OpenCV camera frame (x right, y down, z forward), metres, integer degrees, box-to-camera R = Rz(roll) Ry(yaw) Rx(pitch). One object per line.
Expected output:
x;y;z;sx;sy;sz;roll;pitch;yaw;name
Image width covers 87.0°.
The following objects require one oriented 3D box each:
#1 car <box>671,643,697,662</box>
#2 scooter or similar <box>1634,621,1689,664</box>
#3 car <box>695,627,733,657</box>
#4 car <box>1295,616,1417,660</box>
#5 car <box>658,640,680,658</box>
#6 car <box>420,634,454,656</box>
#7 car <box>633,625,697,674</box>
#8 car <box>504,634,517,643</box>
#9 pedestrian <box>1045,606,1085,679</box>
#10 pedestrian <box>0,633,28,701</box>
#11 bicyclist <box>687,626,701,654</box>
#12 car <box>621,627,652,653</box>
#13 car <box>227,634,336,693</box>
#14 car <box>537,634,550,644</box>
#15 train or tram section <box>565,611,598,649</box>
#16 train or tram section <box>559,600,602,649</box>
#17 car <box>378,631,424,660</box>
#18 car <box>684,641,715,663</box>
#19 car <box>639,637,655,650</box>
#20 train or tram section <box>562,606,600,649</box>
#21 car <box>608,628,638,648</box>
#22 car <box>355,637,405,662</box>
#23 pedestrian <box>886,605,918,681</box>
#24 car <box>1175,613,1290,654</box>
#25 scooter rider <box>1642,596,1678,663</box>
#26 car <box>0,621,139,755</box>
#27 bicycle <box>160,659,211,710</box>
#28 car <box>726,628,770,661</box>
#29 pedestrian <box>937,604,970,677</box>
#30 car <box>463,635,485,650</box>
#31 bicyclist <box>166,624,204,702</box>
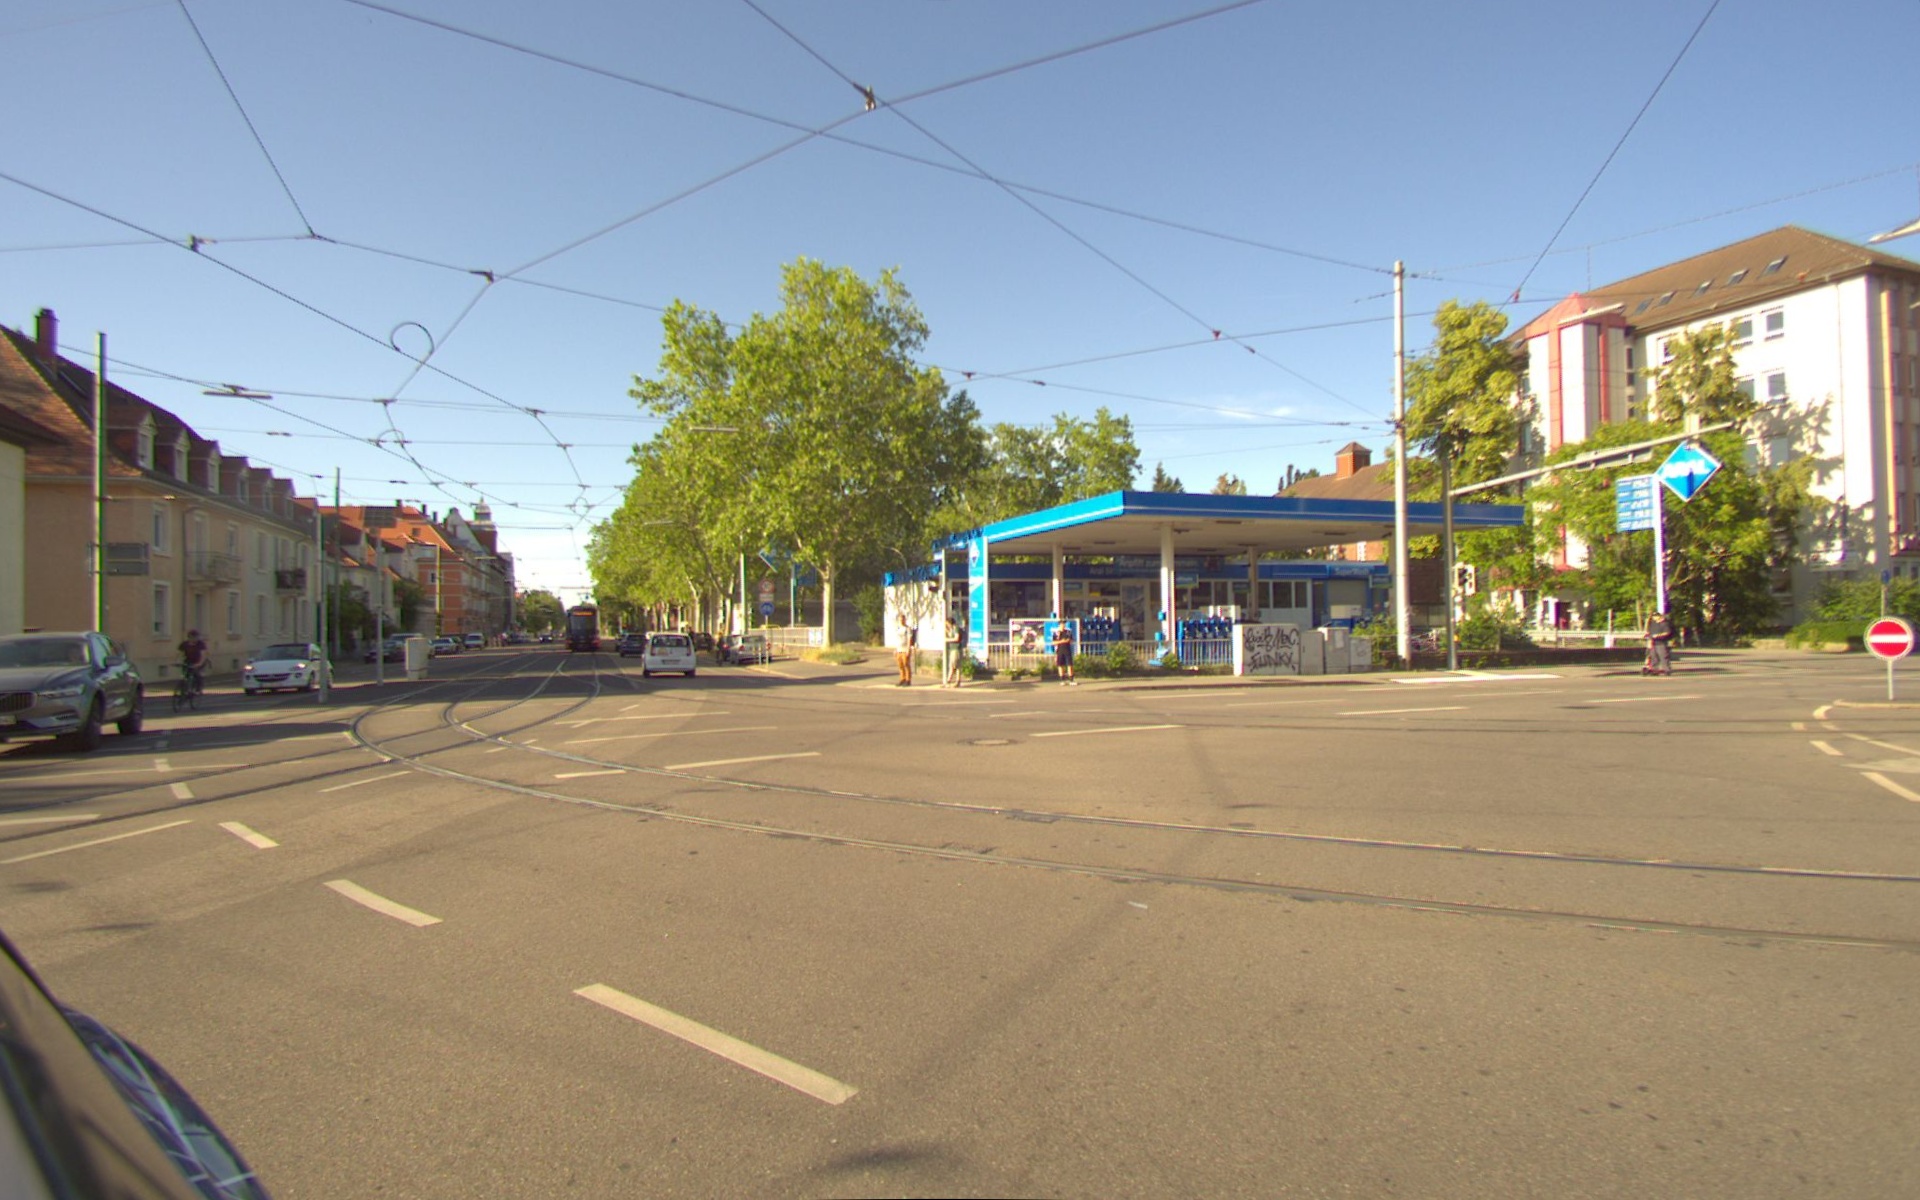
-22.733;4.325;83.324;1.851;1.497;4.012;-1;-2;-19;car
20.225;1.214;29.175;1.451;1.191;0.466;-1;-2;-19;scooter or similar
-13.508;2.310;55.422;1.751;1.435;3.320;-4;-1;-16;car
14.886;1.428;38.060;4.146;1.497;1.723;-1;-2;-21;car
-28.228;4.720;98.030;1.851;1.588;4.012;-1;-2;-19;car
-44.830;3.849;86.854;1.901;1.773;5.329;-1;-2;-20;car
-9.858;1.631;33.661;1.693;1.508;3.595;-1;-2;-22;car
-74.973;6.432;168.826;1.851;1.497;4.013;-1;-2;-22;car
2.630;1.067;25.485;0.736;1.742;0.734;-4;-2;-5;pedestrian
-25.389;1.784;27.065;0.592;1.774;0.488;0;-3;-33;pedestrian
-15.727;2.359;59.853;0.686;1.584;0.894;-1;-2;-21;bicyclist
-20.425;2.531;63.858;1.749;1.508;4.587;-1;-2;-19;car
-20.739;1.905;31.139;1.886;1.643;4.517;-1;-2;-22;car
-67.214;6.249;163.455;1.851;1.497;4.013;-1;-2;-22;car
-39.238;3.198;104.891;3.012;3.640;12.152;-1;-2;-21;train or tram section
-30.649;2.072;81.831;3.012;3.640;12.152;-1;-2;-20;train or tram section
-38.519;3.149;69.817;1.901;1.859;5.329;-1;-2;-20;car
-19.240;3.835;74.626;1.851;1.497;4.012;-1;-2;-19;car
-40.519;5.634;130.789;1.851;1.563;4.012;-1;-2;-19;car
-34.922;2.604;93.355;3.012;3.640;12.541;-1;-2;-21;train or tram section
-27.005;3.043;80.984;1.965;1.508;4.361;1;-2;-22;car
-36.431;3.103;63.690;1.851;1.497;4.011;-1;-2;-16;car
-1.521;1.116;26.502;0.620;1.940;0.586;-1;-2;-20;pedestrian
10.903;1.320;40.520;4.146;1.497;1.723;-1;-2;-21;car
20.202;0.851;29.191;0.680;1.915;0.466;-1;-2;-19;scooter rider
-13.232;1.192;14.356;1.886;1.643;4.515;0;-2;-31;car
-17.669;1.907;23.118;0.590;1.064;1.996;-1;-2;-28;bicycle
-10.491;2.174;49.832;1.751;1.435;3.548;-4;-1;-16;car
-0.154;1.026;25.649;0.733;1.815;0.740;-2;-2;4;pedestrian
-52.593;4.593;109.551;1.851;1.497;4.013;-1;-2;-22;car
-17.674;1.433;23.093;0.590;1.732;0.665;0;-2;-28;bicyclist
